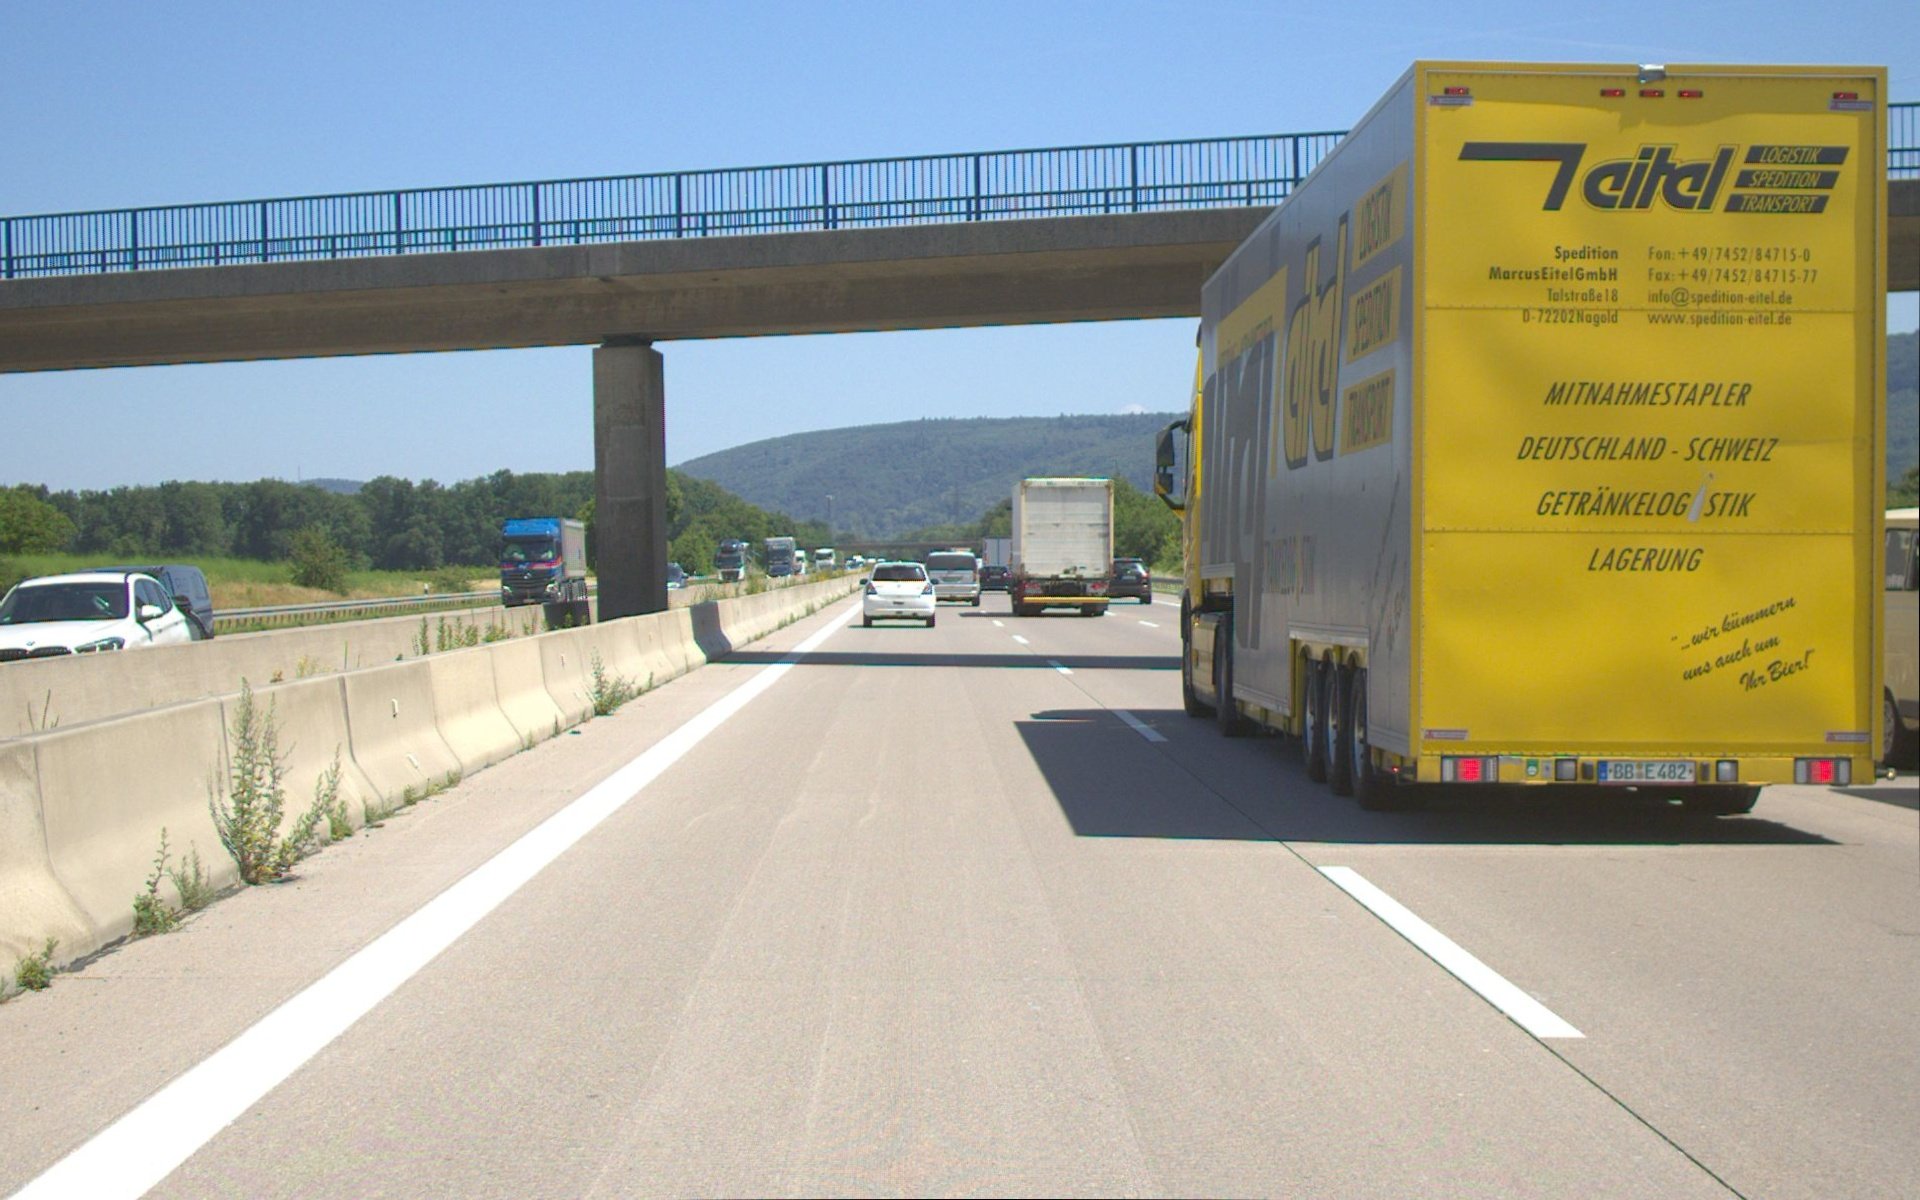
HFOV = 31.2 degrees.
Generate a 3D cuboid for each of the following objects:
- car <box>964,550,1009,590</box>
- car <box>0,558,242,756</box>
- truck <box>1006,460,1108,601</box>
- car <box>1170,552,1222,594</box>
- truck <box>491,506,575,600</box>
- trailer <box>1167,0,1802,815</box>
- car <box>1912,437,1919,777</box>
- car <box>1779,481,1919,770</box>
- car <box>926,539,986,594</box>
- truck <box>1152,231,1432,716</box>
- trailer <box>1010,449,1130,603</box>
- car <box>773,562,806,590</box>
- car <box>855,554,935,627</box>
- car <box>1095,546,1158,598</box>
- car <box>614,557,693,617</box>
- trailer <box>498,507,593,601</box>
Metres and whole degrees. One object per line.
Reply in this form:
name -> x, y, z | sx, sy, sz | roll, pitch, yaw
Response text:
car -> 1.254, -1.442, 165.218 | 1.993, 1.842, 4.000 | 2, 1, -1
car -> -9.709, 0.551, 38.308 | 2.252, 2.007, 5.979 | 1, 1, -1
truck -> 2.720, -1.961, 97.928 | 2.580, 3.864, 4.984 | 1, 0, -1
car -> 11.042, -1.265, 161.042 | 1.993, 1.842, 4.000 | 2, 1, -1
truck -> -18.961, -2.090, 153.062 | 2.981, 4.076, 6.466 | 0, 1, -1
trailer -> 3.195, -1.087, 25.535 | 1.993, 4.240, 15.201 | 1, 1, -1
car -> 7.705, 0.084, 21.054 | 2.134, 2.339, 5.516 | 1, 1, -1
car -> 7.509, 0.169, 25.730 | 1.783, 2.007, 3.820 | 1, 1, -1
car -> -0.161, -1.169, 119.509 | 1.993, 1.842, 4.000 | 1, 1, -1
truck -> 3.061, -1.136, 32.797 | 1.993, 4.240, 5.195 | 1, 0, -1
trailer -> 2.877, -1.936, 92.698 | 2.580, 3.864, 10.374 | 1, 1, -1
car -> -11.541, -1.618, 232.471 | 1.993, 1.856, 5.467 | 1, 1, -1
car -> -1.555, -0.237, 80.764 | 1.819, 1.656, 4.000 | 0, 1, -2
car -> 6.242, -1.044, 129.041 | 1.993, 1.842, 4.000 | 2, 1, -1
car -> -10.738, -0.472, 120.859 | 2.306, 2.007, 5.655 | 1, 1, 0
trailer -> -19.044, -2.108, 158.549 | 2.981, 4.076, 11.606 | -2, 1, -1
